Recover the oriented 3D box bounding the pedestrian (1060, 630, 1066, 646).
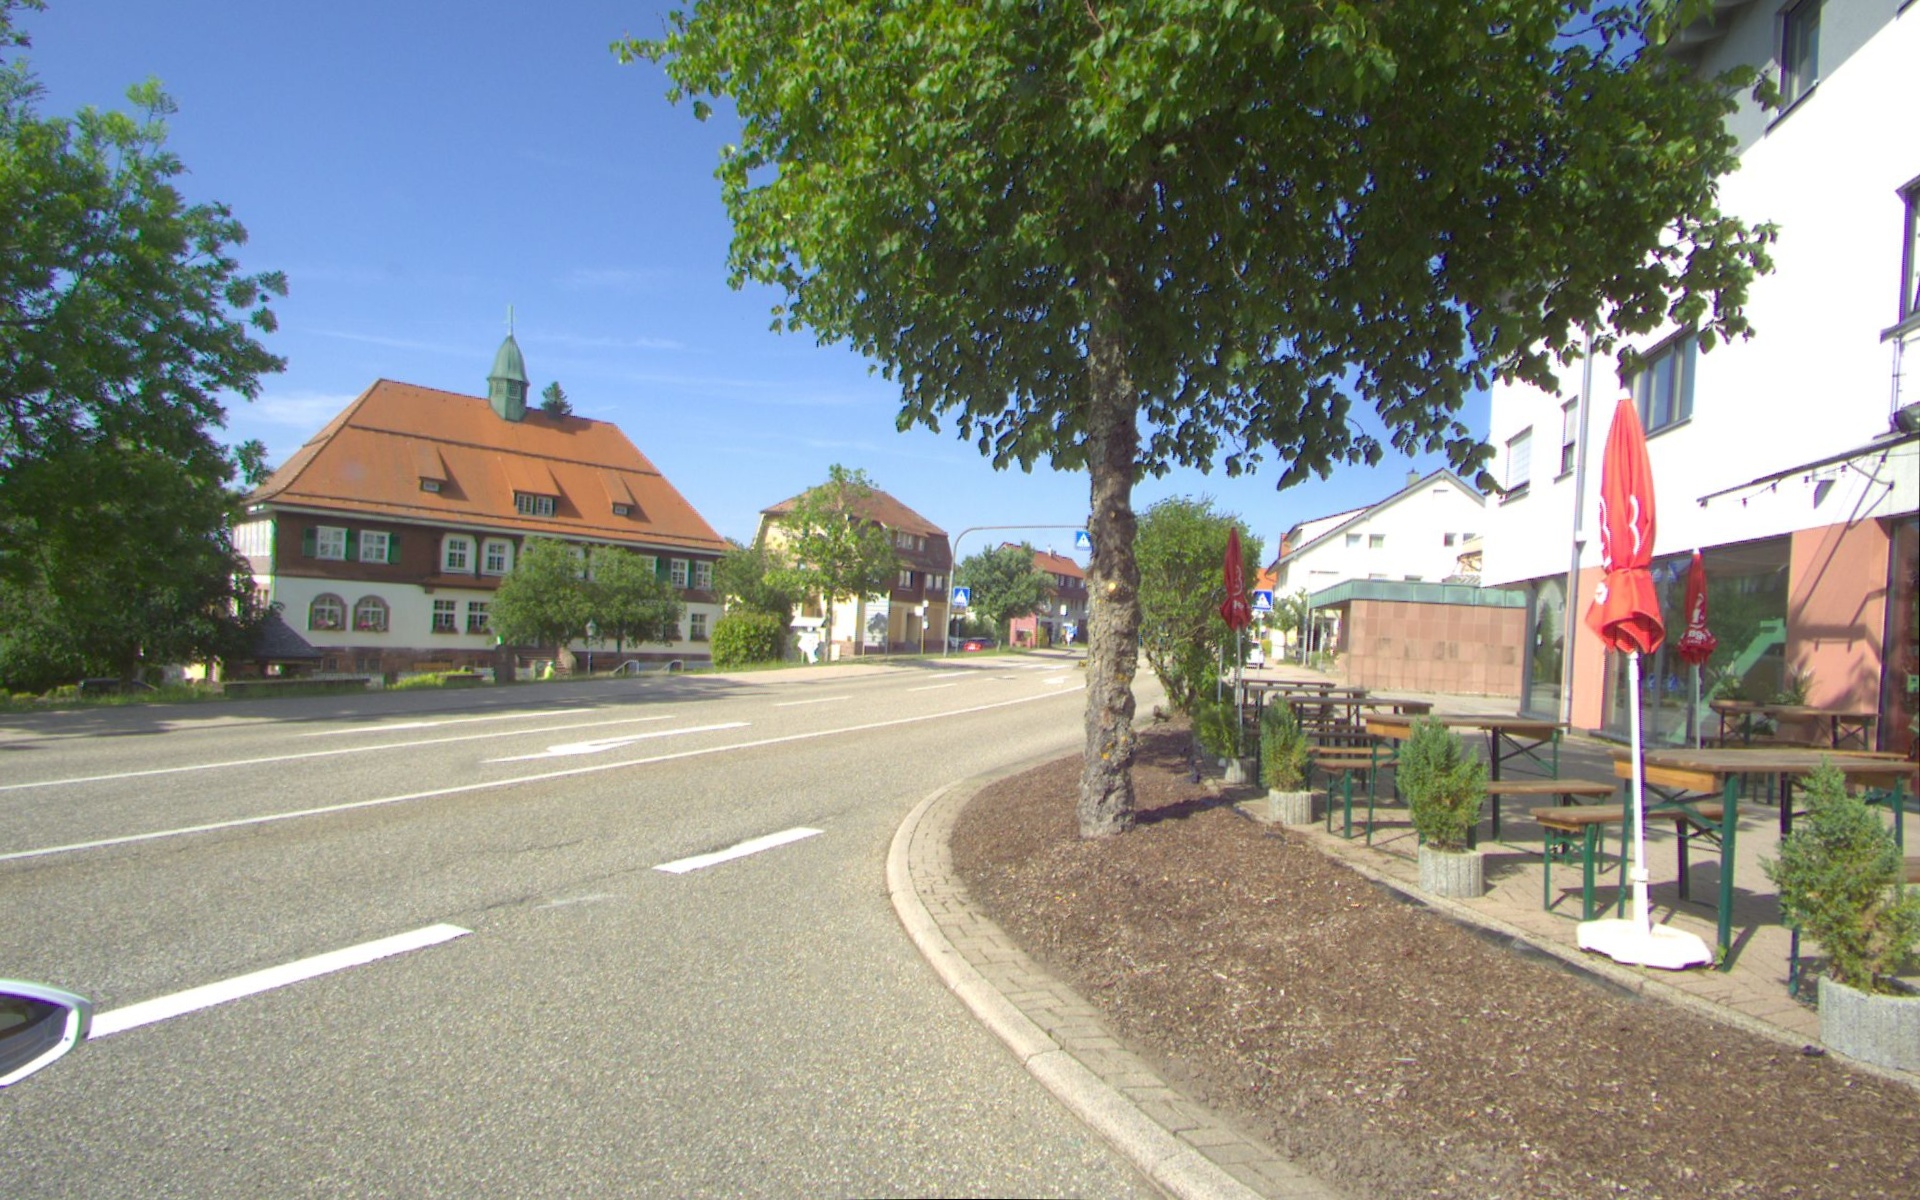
[{"bbox_3d":[11.432,4.239,111.031,0.489,1.771,0.587,-1,-1,31],"label":"pedestrian"}]

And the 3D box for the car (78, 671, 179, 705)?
[{"bbox_3d":[-41.669,4.374,50.223,1.696,1.463,3.751,-2,-2,44],"label":"car"}]

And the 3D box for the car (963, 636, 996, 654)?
[{"bbox_3d":[1.635,3.690,82.064,1.744,1.451,3.710,-1,-2,17],"label":"car"}]

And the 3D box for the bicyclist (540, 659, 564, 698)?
[{"bbox_3d":[-20.651,3.965,50.734,0.988,1.949,0.577,1,-2,-43],"label":"bicyclist"}]

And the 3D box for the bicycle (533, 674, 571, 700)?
[{"bbox_3d":[-20.659,4.391,50.713,1.711,1.205,0.533,1,-2,-43],"label":"bicycle"}]

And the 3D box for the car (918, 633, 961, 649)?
[{"bbox_3d":[-1.881,3.823,92.797,3.648,1.451,1.774,-2,-2,19],"label":"car"}]

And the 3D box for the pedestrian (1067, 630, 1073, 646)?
[{"bbox_3d":[12.156,4.228,110.790,0.489,1.771,0.581,-1,-1,31],"label":"pedestrian"}]

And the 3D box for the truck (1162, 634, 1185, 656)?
[{"bbox_3d":[24.301,5.088,113.737,1.964,2.372,6.487,2,-1,17],"label":"truck"}]
